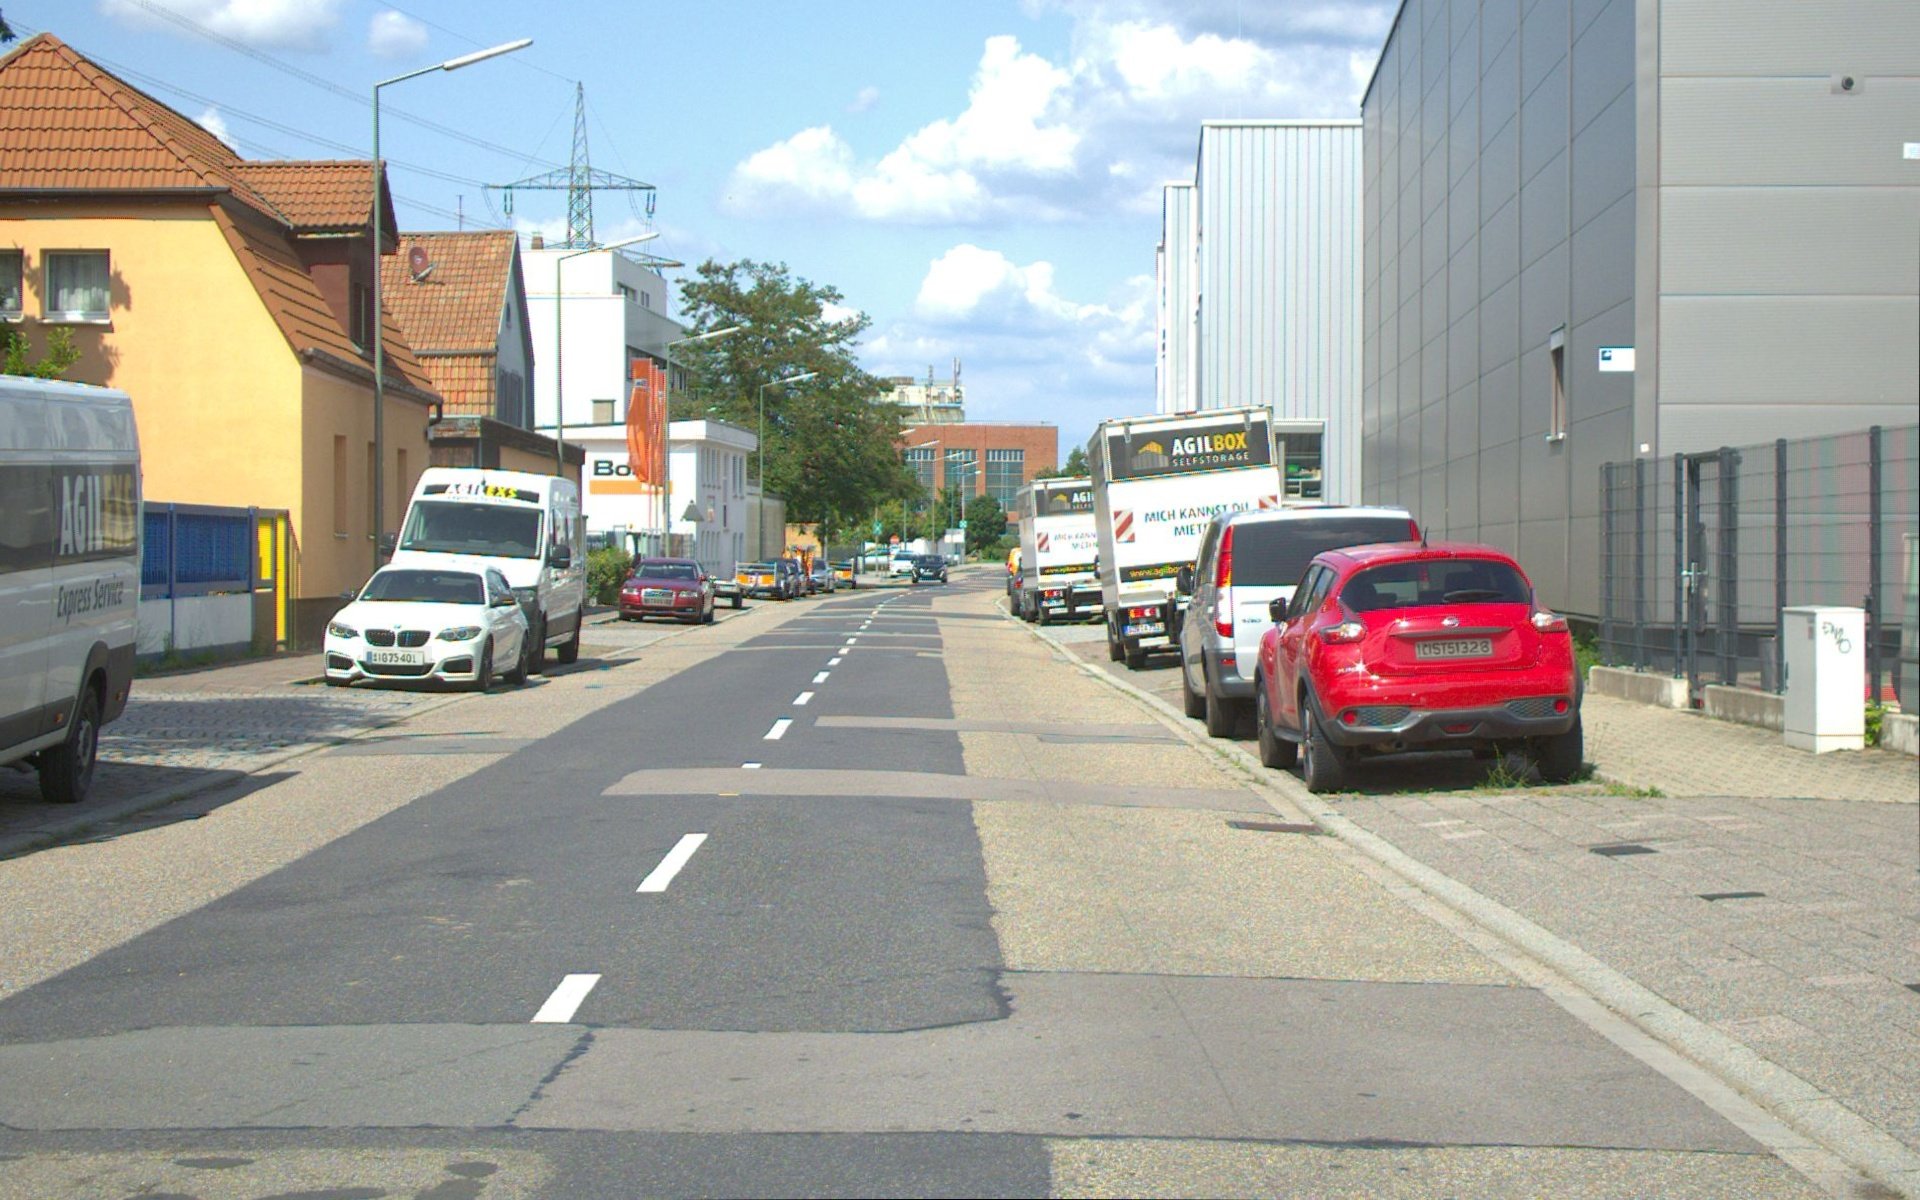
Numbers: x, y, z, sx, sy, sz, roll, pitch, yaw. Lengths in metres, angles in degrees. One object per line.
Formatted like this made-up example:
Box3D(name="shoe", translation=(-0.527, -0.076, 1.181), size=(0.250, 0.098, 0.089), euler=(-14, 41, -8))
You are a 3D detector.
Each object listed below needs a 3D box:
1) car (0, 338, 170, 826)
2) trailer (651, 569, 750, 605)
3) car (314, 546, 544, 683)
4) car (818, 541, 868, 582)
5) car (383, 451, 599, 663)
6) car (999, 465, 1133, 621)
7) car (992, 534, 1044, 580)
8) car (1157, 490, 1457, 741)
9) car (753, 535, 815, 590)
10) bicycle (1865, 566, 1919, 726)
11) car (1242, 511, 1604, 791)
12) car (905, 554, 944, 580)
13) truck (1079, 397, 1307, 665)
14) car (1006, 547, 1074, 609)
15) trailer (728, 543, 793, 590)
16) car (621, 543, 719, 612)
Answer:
Box3D(name="car", translation=(-6.067, -0.130, 18.952), size=(2.029, 2.549, 6.658), euler=(3, 0, -2))
Box3D(name="trailer", translation=(-7.229, -0.361, 96.335), size=(2.362, 0.890, 5.569), euler=(2, 0, 0))
Box3D(name="car", translation=(-5.904, 0.141, 38.708), size=(1.796, 1.392, 4.501), euler=(2, 0, 1))
Box3D(name="car", translation=(-5.308, -1.743, 156.391), size=(1.922, 1.788, 4.000), euler=(2, 0, 2))
Box3D(name="car", translation=(-6.144, -0.554, 45.832), size=(2.026, 2.552, 6.840), euler=(2, 0, -1))
Box3D(name="car", translation=(2.364, -1.282, 78.888), size=(2.388, 3.351, 6.646), euler=(-2, 1, -3))
Box3D(name="car", translation=(2.268, -1.641, 132.906), size=(1.940, 1.736, 4.376), euler=(0, 0, 2))
Box3D(name="car", translation=(2.922, 0.084, 30.070), size=(2.054, 1.897, 5.147), euler=(-3, 1, 1))
Box3D(name="car", translation=(-6.770, -1.434, 132.925), size=(1.994, 2.007, 4.000), euler=(2, 0, 2))
Box3D(name="bicycle", translation=(7.595, 0.312, 24.870), size=(1.949, 1.139, 0.457), euler=(-1, 1, 2))
Box3D(name="car", translation=(3.007, 0.299, 23.116), size=(1.704, 1.619, 4.093), euler=(-3, 0, -1))
Box3D(name="car", translation=(-1.811, -1.689, 174.855), size=(1.918, 1.280, 3.615), euler=(0, 1, -1))
Box3D(name="truck", translation=(3.116, -0.926, 47.674), size=(2.458, 3.282, 6.818), euler=(-4, 1, 0))
Box3D(name="car", translation=(2.104, -0.586, 91.303), size=(1.768, 1.607, 3.873), euler=(0, 0, 1))
Box3D(name="trailer", translation=(-6.786, -1.144, 117.489), size=(1.993, 1.551, 4.254), euler=(1, 1, 0))
Box3D(name="car", translation=(-6.505, -0.502, 77.525), size=(1.762, 1.442, 4.741), euler=(2, 0, 0))
